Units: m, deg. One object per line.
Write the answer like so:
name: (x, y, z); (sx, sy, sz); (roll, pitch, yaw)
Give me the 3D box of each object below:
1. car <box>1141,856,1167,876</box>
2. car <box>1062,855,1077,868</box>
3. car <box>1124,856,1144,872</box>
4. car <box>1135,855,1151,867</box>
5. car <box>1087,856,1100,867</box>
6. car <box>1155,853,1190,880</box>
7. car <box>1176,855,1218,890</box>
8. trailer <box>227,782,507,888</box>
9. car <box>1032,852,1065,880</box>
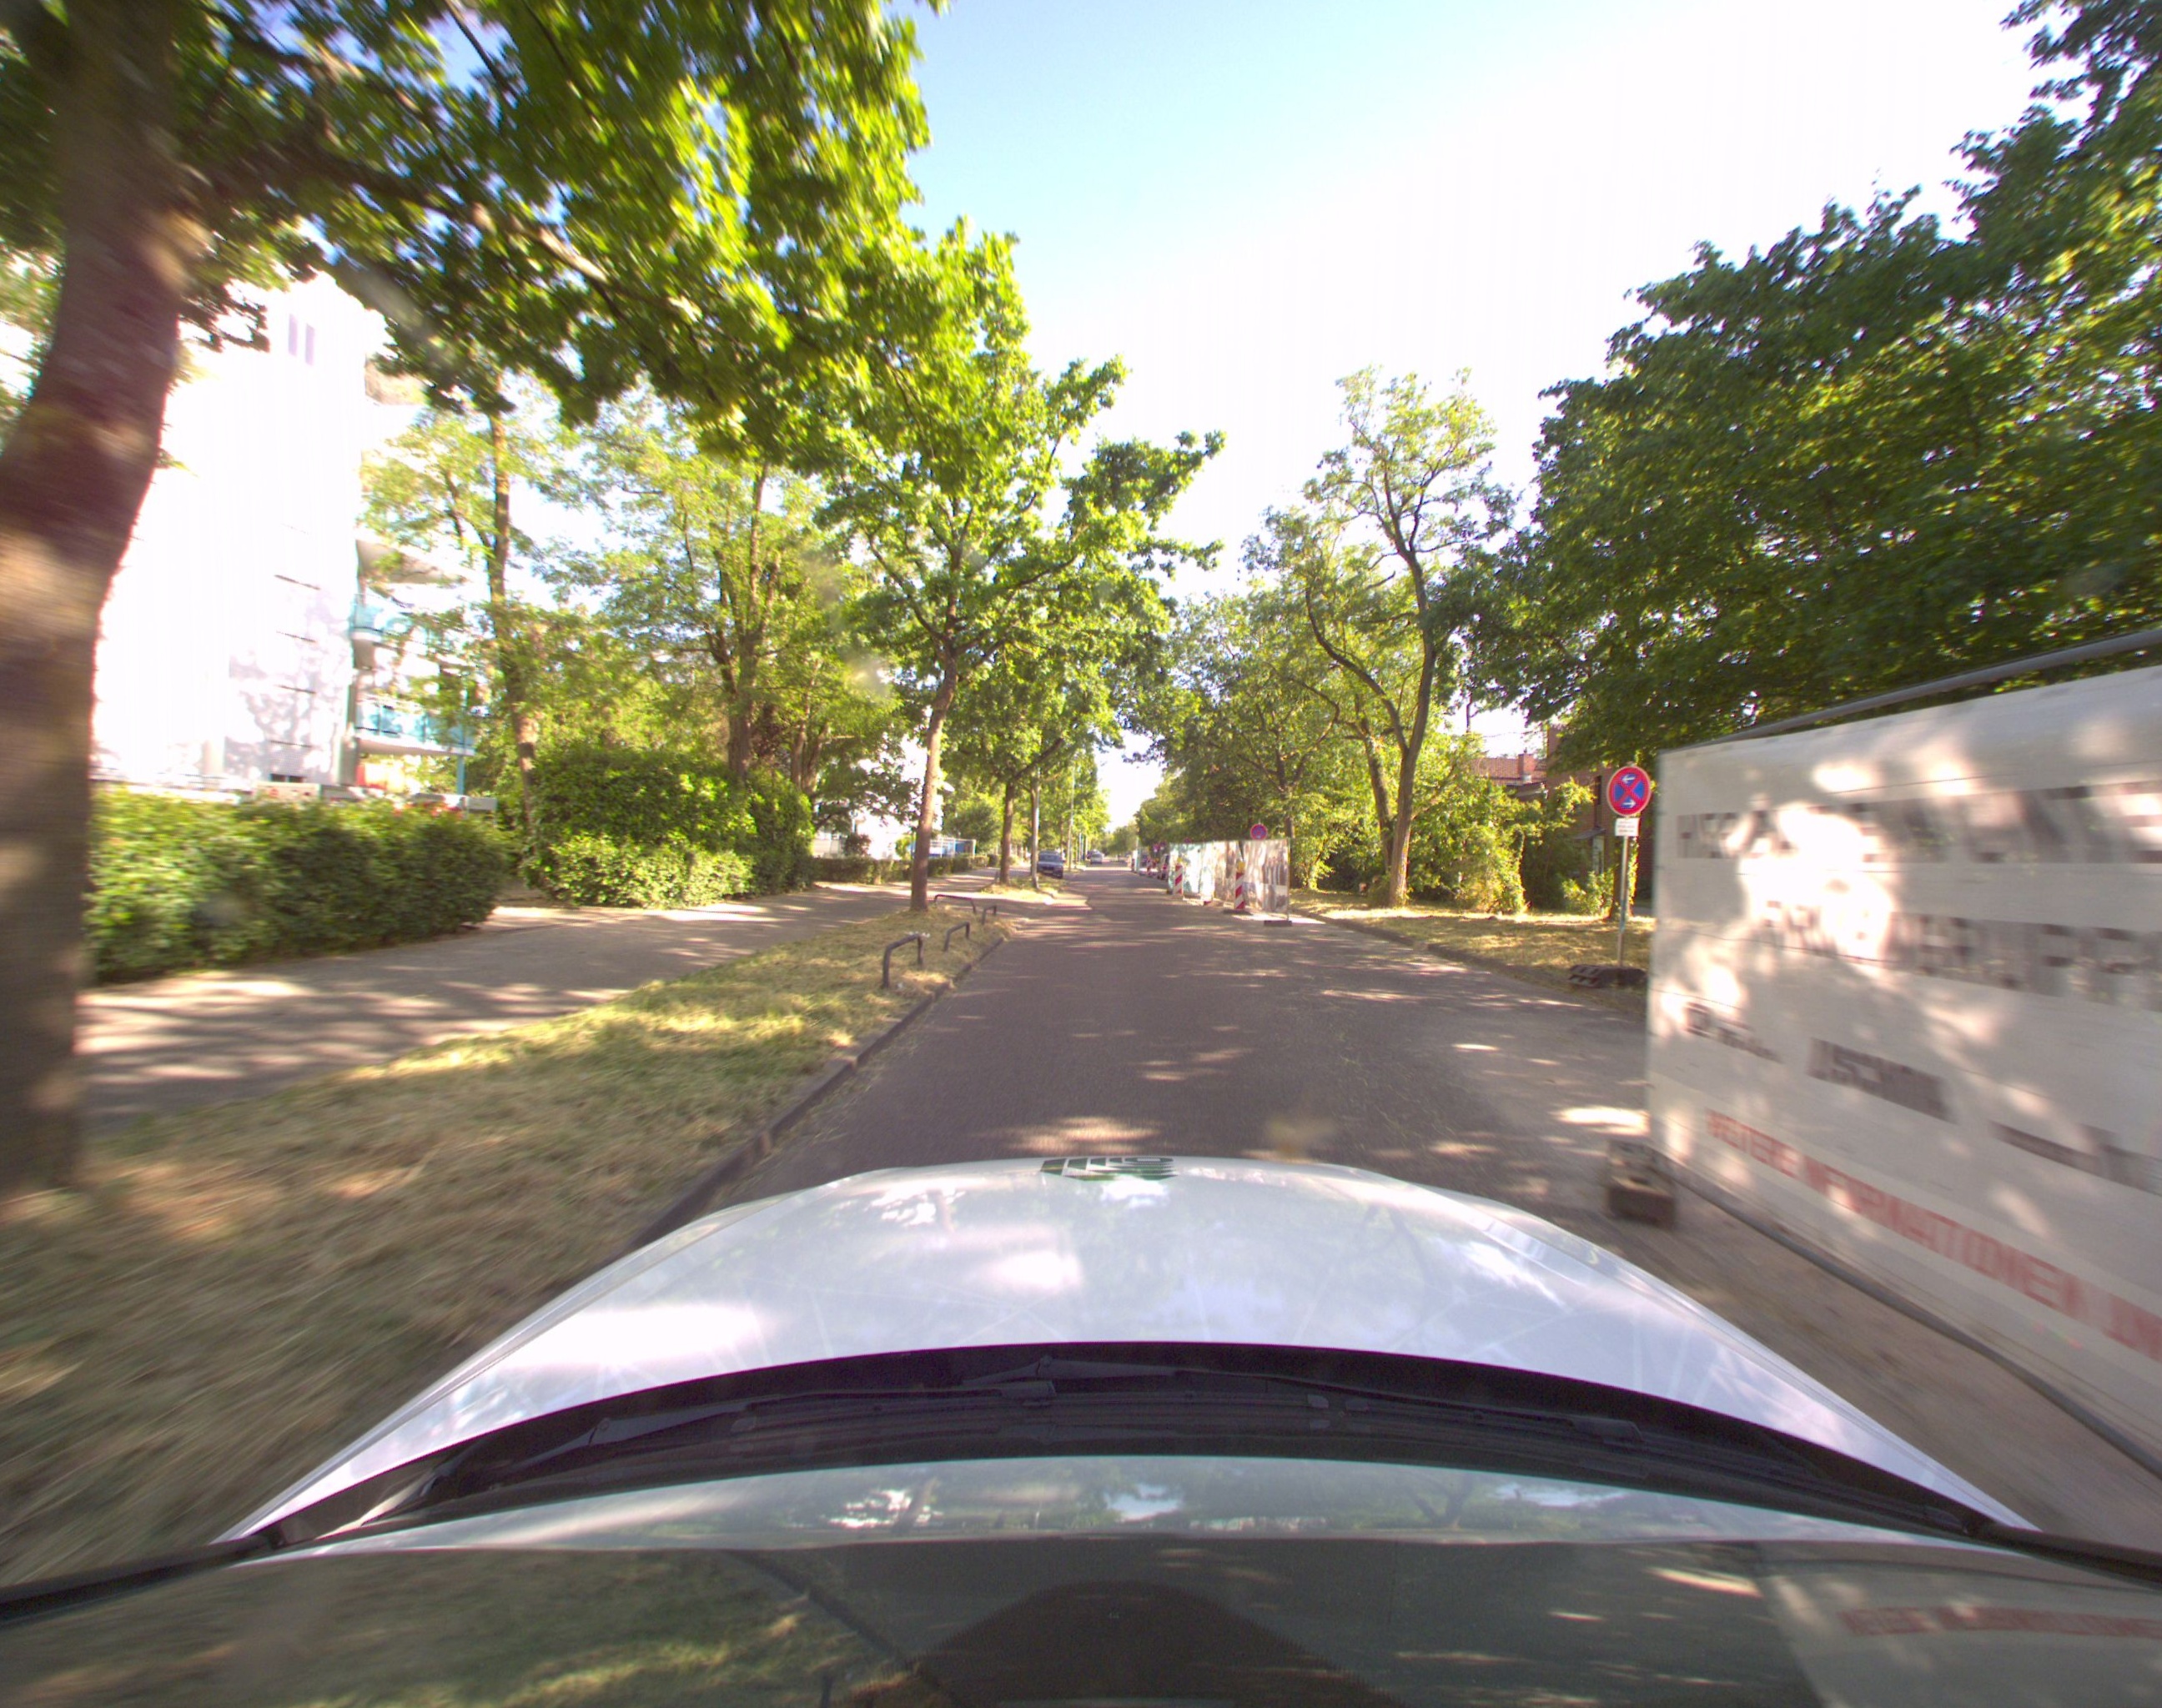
car: (5.092, 0.841, 57.141); (1.357, 1.302, 3.479); (3, -1, -1)
car: (-1.161, 0.762, 82.723); (1.357, 1.302, 3.479); (3, -1, -1)
car: (4.519, 0.856, 70.116); (1.357, 1.302, 3.479); (3, -1, -1)
car: (7.582, 0.882, 100.044); (1.787, 1.409, 4.003); (2, 0, 3)
car: (1.907, 1.080, 122.515); (1.706, 1.585, 3.996); (3, -1, -2)
car: (5.692, 0.764, 51.227); (1.747, 1.595, 3.657); (2, 0, 0)
car: (5.307, 0.816, 37.492); (1.496, 1.478, 3.058); (2, 0, 0)
trailer: (-15.664, -0.375, 18.274); (1.965, 2.042, 4.440); (1, 0, 8)
car: (-1.845, 0.681, 47.492); (1.745, 1.478, 3.836); (2, 0, 0)
